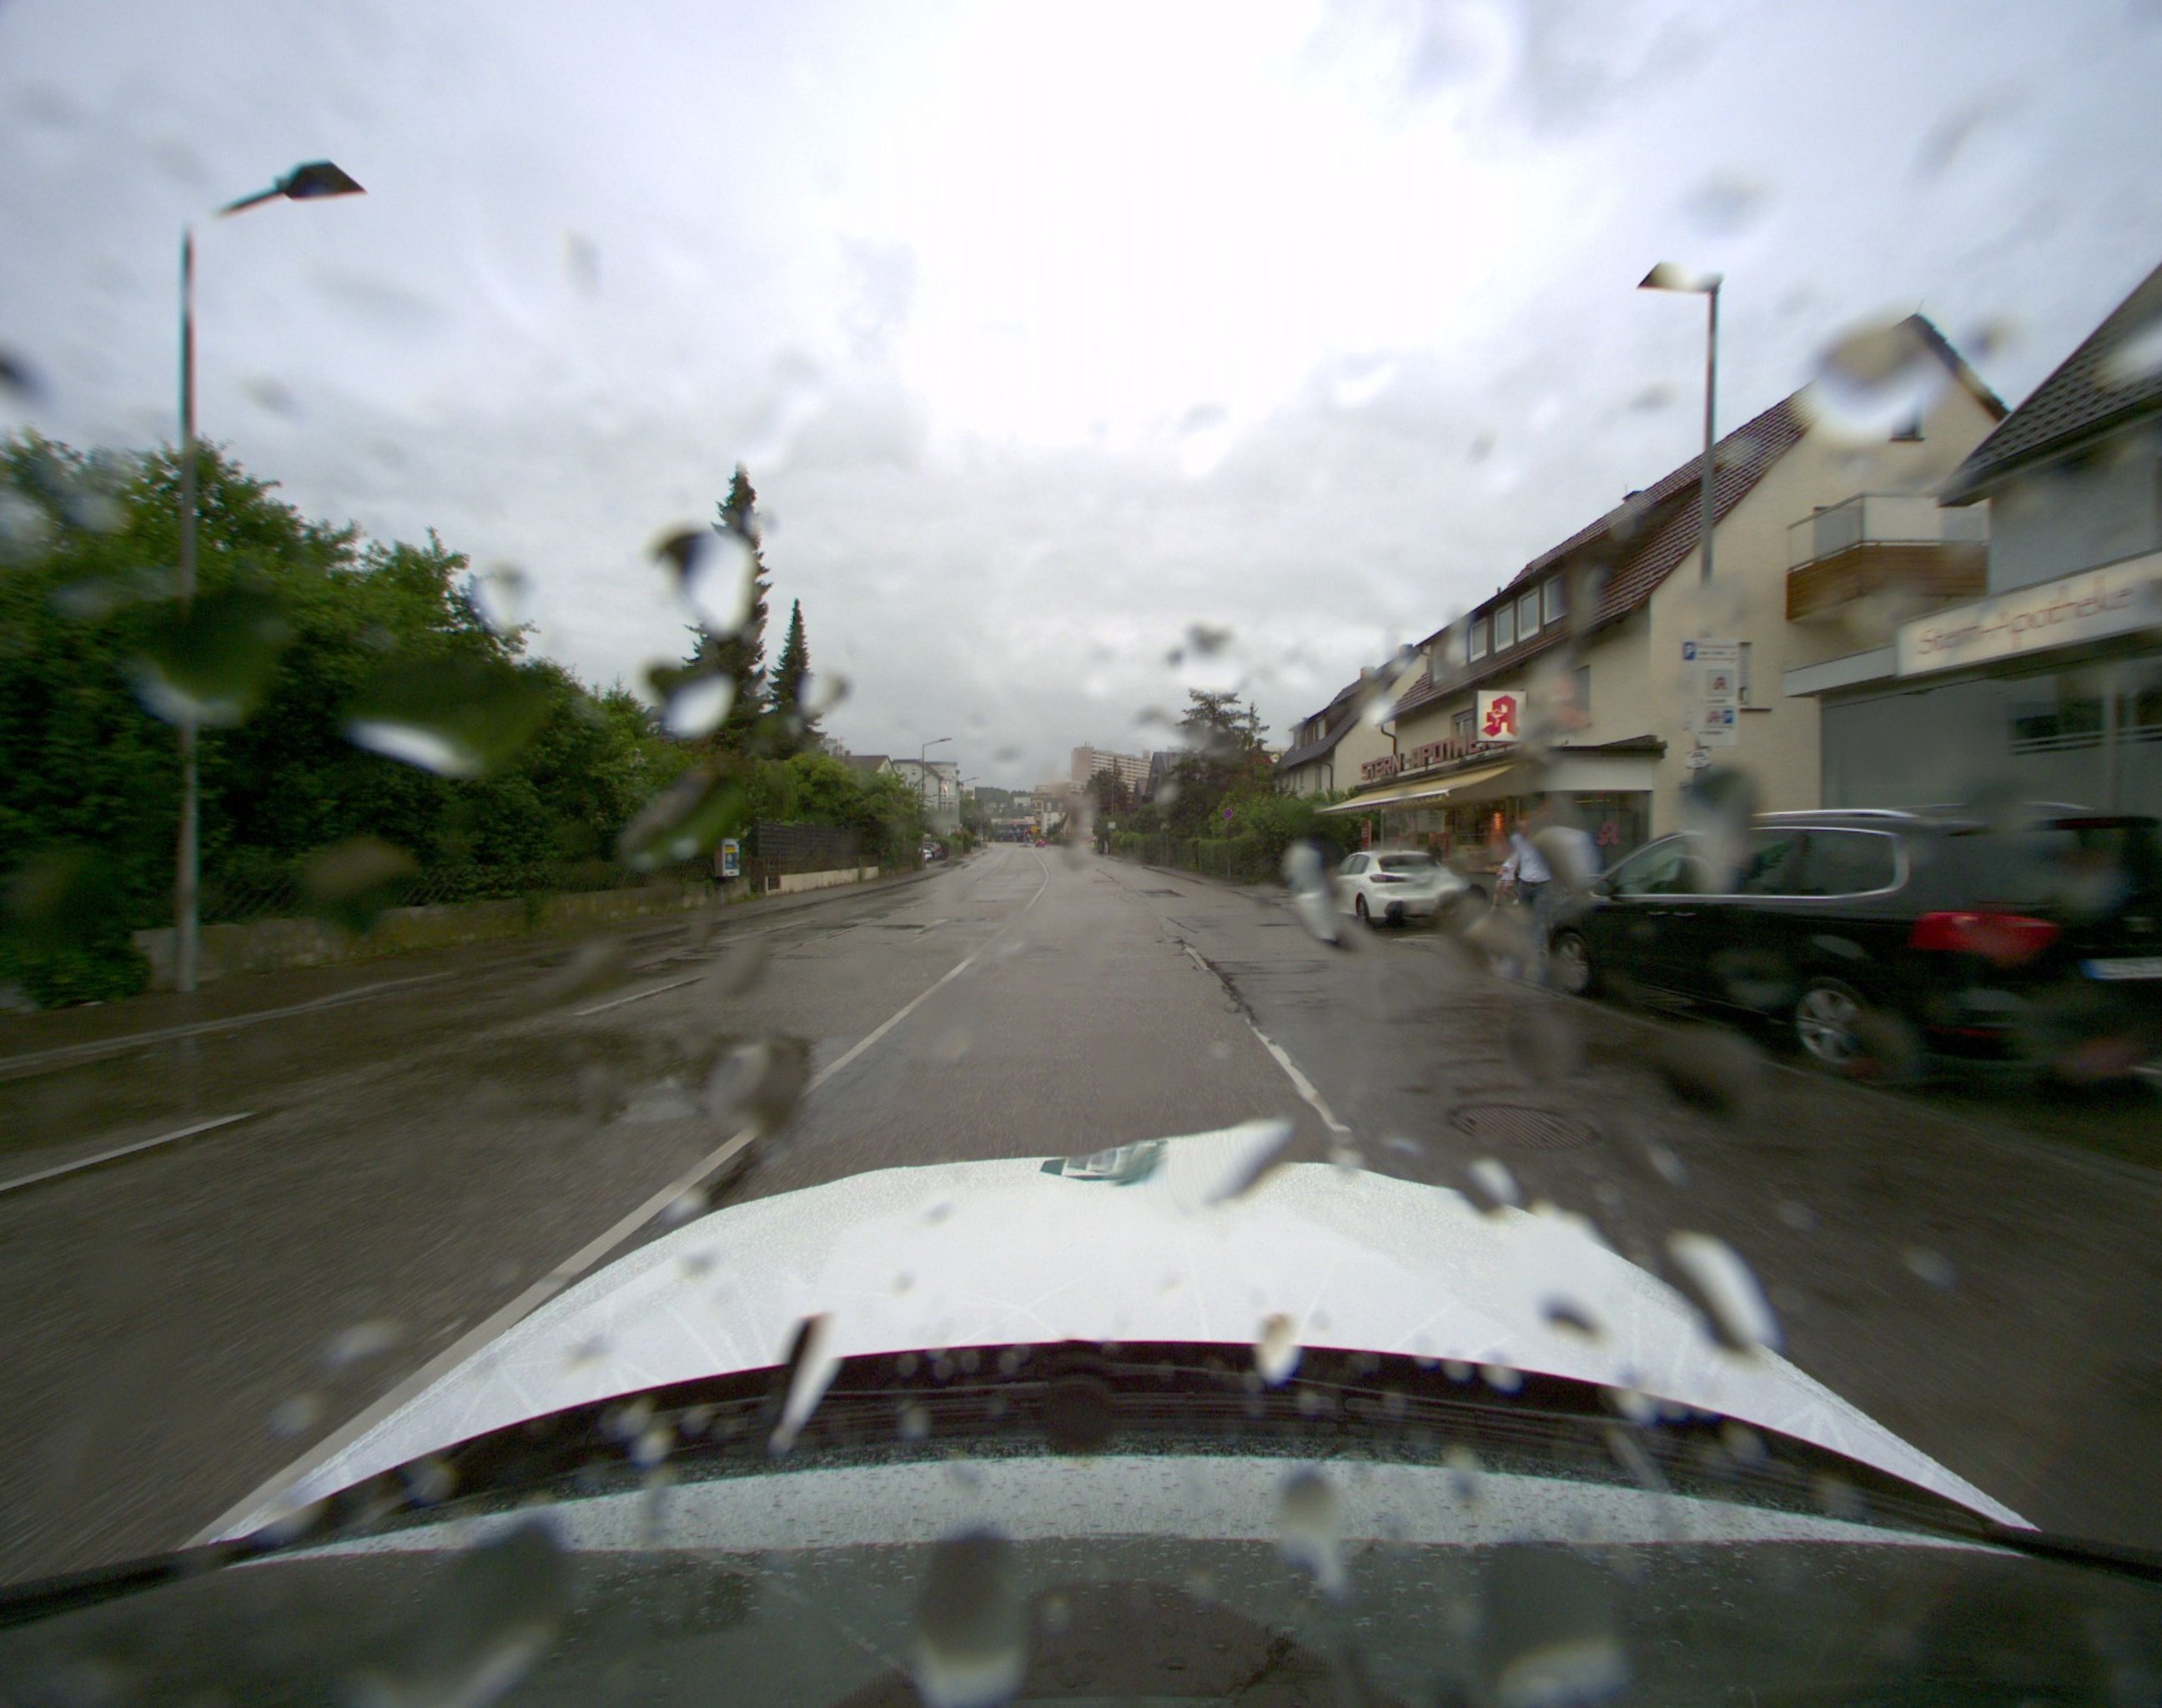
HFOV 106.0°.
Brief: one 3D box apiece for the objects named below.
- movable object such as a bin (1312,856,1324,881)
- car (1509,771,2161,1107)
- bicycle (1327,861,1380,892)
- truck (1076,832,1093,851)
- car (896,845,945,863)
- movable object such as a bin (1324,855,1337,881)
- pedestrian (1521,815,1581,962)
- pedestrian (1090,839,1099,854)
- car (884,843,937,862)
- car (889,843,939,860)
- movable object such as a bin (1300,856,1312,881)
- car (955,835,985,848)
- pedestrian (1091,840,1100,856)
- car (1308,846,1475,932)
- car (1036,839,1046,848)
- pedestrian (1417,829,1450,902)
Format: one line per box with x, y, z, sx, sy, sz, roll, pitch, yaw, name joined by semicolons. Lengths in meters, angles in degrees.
9.361;0.581;32.119;0.365;0.987;0.355;0;0;-2;movable object such as a bin
5.728;0.449;6.657;2.027;1.695;4.967;-2;-1;3;car
9.245;0.759;27.625;1.632;0.933;0.626;-4;-1;20;bicycle
0.358;-1.492;97.171;1.987;2.303;4.000;0;1;0;truck
-14.674;0.008;74.604;3.958;1.686;1.816;0;0;14;car
9.863;0.547;32.192;0.365;0.987;0.355;0;0;-2;movable object such as a bin
6.272;0.438;10.861;0.616;1.891;0.651;0;0;37;pedestrian
1.581;-0.887;93.675;0.826;1.726;0.835;0;1;-21;pedestrian
-14.319;-0.122;68.518;3.971;1.434;1.972;2;1;2;car
-14.515;-0.193;70.882;3.970;1.446;1.707;0;0;3;car
8.869;0.569;32.068;0.365;0.987;0.355;0;0;-2;movable object such as a bin
-19.038;-2.149;139.613;4.494;2.013;2.006;2;1;10;car
1.654;-0.732;92.784;0.826;1.797;0.794;0;1;-22;pedestrian
6.012;0.601;16.327;1.808;1.448;4.204;-2;0;1;car
-7.530;-1.880;152.347;1.789;1.669;3.997;0;0;-2;car
8.267;0.265;19.111;0.554;1.678;0.511;0;0;-36;pedestrian
